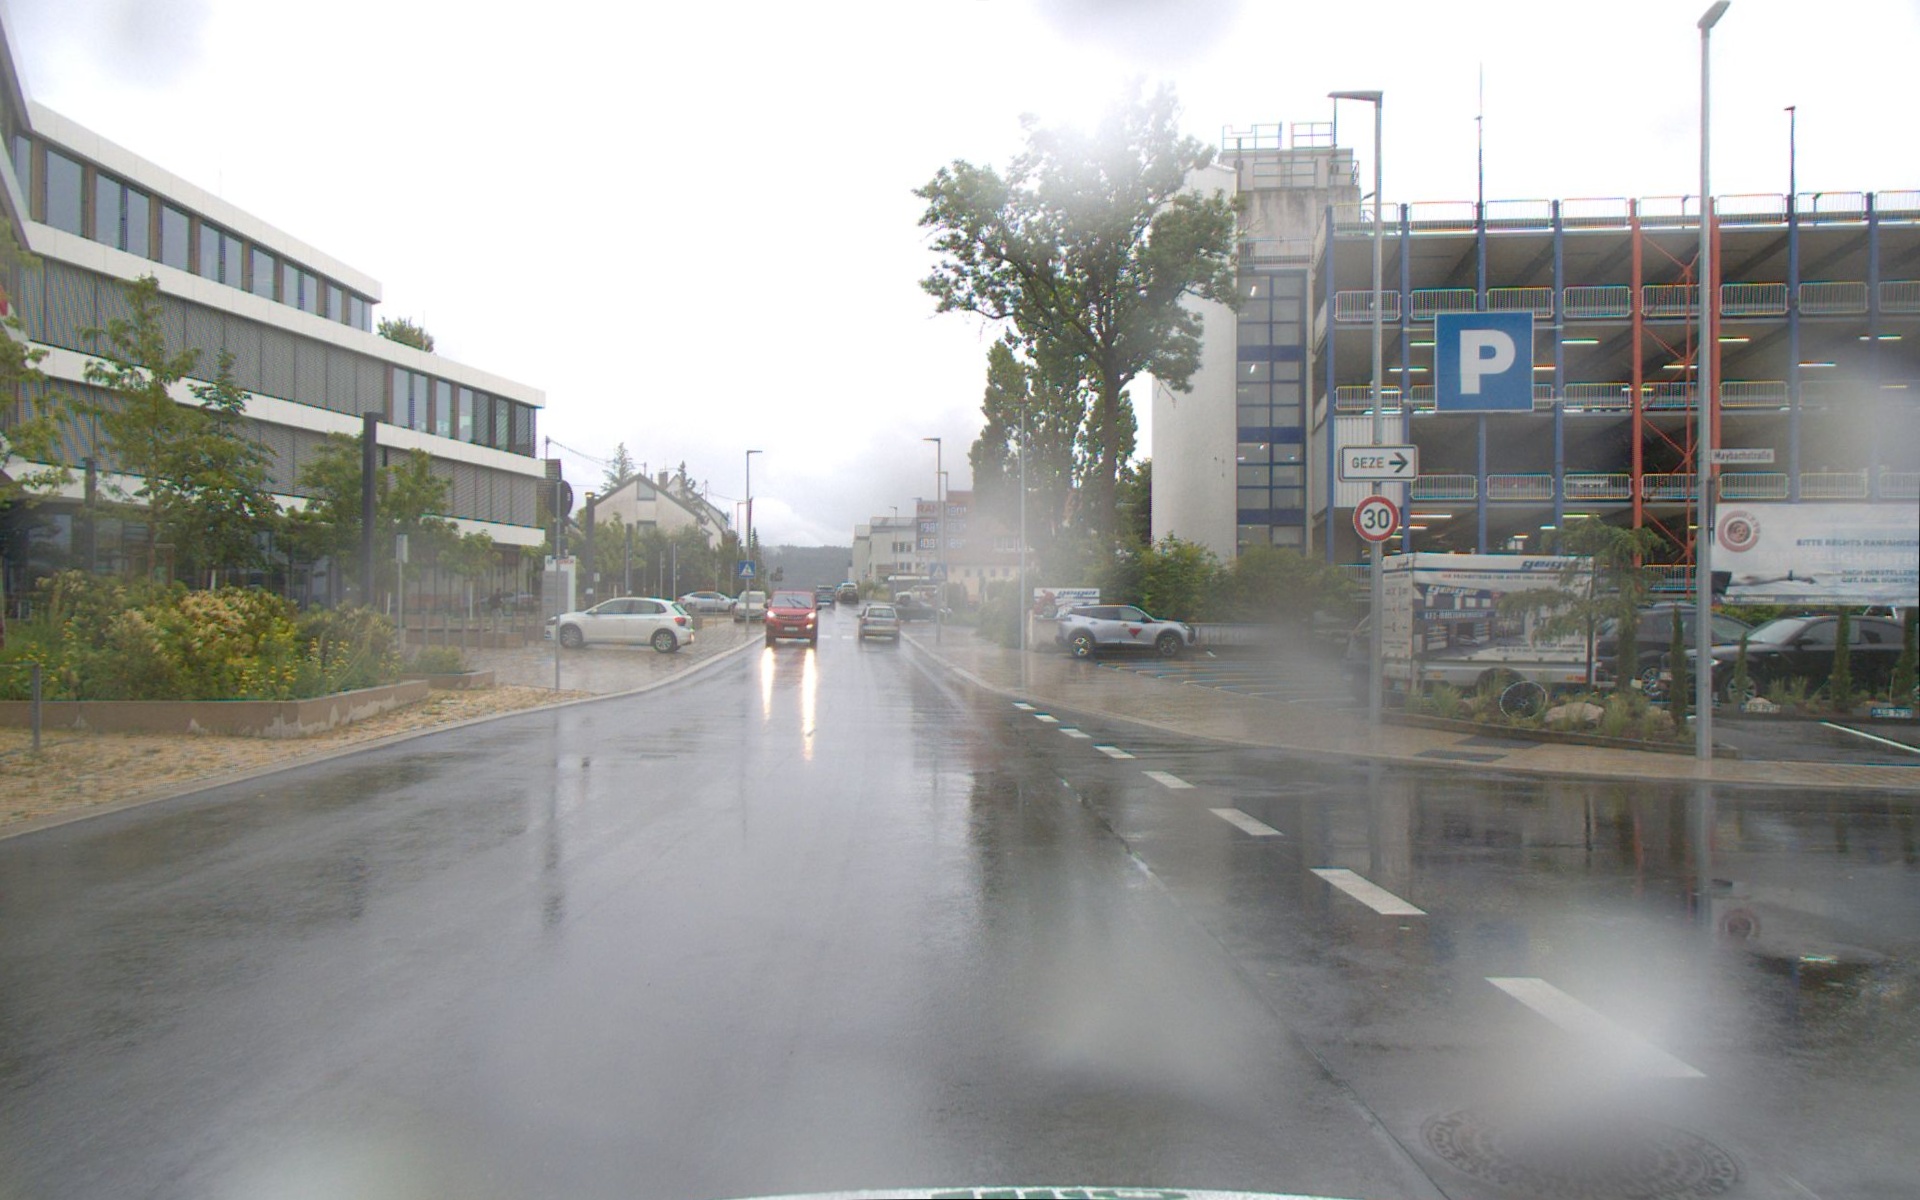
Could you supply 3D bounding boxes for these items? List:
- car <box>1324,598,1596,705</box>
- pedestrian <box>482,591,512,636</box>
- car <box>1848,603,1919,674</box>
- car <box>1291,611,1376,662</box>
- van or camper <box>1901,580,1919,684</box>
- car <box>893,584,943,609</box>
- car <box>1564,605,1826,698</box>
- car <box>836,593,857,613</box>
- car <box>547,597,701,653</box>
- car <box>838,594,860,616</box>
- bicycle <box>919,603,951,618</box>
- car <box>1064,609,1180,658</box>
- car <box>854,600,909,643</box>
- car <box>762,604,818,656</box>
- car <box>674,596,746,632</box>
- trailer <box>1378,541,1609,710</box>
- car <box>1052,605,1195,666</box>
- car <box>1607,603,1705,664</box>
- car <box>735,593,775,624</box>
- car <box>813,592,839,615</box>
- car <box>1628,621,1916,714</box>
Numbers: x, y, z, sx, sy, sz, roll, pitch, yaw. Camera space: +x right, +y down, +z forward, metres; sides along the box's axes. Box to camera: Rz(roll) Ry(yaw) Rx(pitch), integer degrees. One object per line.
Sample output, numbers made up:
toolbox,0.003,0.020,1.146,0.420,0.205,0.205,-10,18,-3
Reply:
car,7.629,0.785,25.439,3.652,1.556,1.648,0,-1,-5
pedestrian,-18.589,0.529,66.408,0.994,1.754,0.771,1,0,-7
car,27.737,1.165,48.182,1.852,1.845,4.002,4,-2,7
car,11.254,1.070,50.122,1.892,1.467,4.208,1,0,4
van or camper,24.124,0.703,36.979,4.851,2.367,2.223,0,0,3
car,-3.578,-0.269,140.480,4.035,1.735,1.785,5,-2,-8
car,12.200,0.848,27.564,3.655,1.474,1.728,1,-1,-8
car,-11.614,0.324,168.821,1.955,1.735,3.996,4,-2,-4
car,-9.109,0.675,45.132,3.850,1.448,1.897,1,0,-4
car,-10.458,0.475,155.730,1.955,1.735,3.996,4,-2,-4
bicycle,-2.050,0.834,133.953,0.663,1.085,3.584,6,-3,-35
car,5.073,1.042,51.857,3.544,1.521,1.807,0,-1,5
car,-3.313,0.941,69.069,1.911,1.583,3.993,5,-2,-7
car,-6.346,1.081,62.107,1.964,1.850,4.974,1,0,-5
car,-16.934,0.966,112.240,4.664,2.049,1.996,5,-2,-7
trailer,7.307,0.345,22.816,2.647,2.209,1.547,1,-1,-3
car,4.842,1.045,49.062,4.118,1.678,2.001,-1,-1,5
car,20.614,0.966,49.111,1.693,1.708,4.003,0,0,8
car,-11.104,0.446,89.931,1.954,1.657,4.149,1,0,-4
car,-11.634,0.346,144.206,2.112,1.735,3.996,4,-2,-4
car,12.363,1.018,25.294,3.655,1.338,1.690,1,-1,-8
